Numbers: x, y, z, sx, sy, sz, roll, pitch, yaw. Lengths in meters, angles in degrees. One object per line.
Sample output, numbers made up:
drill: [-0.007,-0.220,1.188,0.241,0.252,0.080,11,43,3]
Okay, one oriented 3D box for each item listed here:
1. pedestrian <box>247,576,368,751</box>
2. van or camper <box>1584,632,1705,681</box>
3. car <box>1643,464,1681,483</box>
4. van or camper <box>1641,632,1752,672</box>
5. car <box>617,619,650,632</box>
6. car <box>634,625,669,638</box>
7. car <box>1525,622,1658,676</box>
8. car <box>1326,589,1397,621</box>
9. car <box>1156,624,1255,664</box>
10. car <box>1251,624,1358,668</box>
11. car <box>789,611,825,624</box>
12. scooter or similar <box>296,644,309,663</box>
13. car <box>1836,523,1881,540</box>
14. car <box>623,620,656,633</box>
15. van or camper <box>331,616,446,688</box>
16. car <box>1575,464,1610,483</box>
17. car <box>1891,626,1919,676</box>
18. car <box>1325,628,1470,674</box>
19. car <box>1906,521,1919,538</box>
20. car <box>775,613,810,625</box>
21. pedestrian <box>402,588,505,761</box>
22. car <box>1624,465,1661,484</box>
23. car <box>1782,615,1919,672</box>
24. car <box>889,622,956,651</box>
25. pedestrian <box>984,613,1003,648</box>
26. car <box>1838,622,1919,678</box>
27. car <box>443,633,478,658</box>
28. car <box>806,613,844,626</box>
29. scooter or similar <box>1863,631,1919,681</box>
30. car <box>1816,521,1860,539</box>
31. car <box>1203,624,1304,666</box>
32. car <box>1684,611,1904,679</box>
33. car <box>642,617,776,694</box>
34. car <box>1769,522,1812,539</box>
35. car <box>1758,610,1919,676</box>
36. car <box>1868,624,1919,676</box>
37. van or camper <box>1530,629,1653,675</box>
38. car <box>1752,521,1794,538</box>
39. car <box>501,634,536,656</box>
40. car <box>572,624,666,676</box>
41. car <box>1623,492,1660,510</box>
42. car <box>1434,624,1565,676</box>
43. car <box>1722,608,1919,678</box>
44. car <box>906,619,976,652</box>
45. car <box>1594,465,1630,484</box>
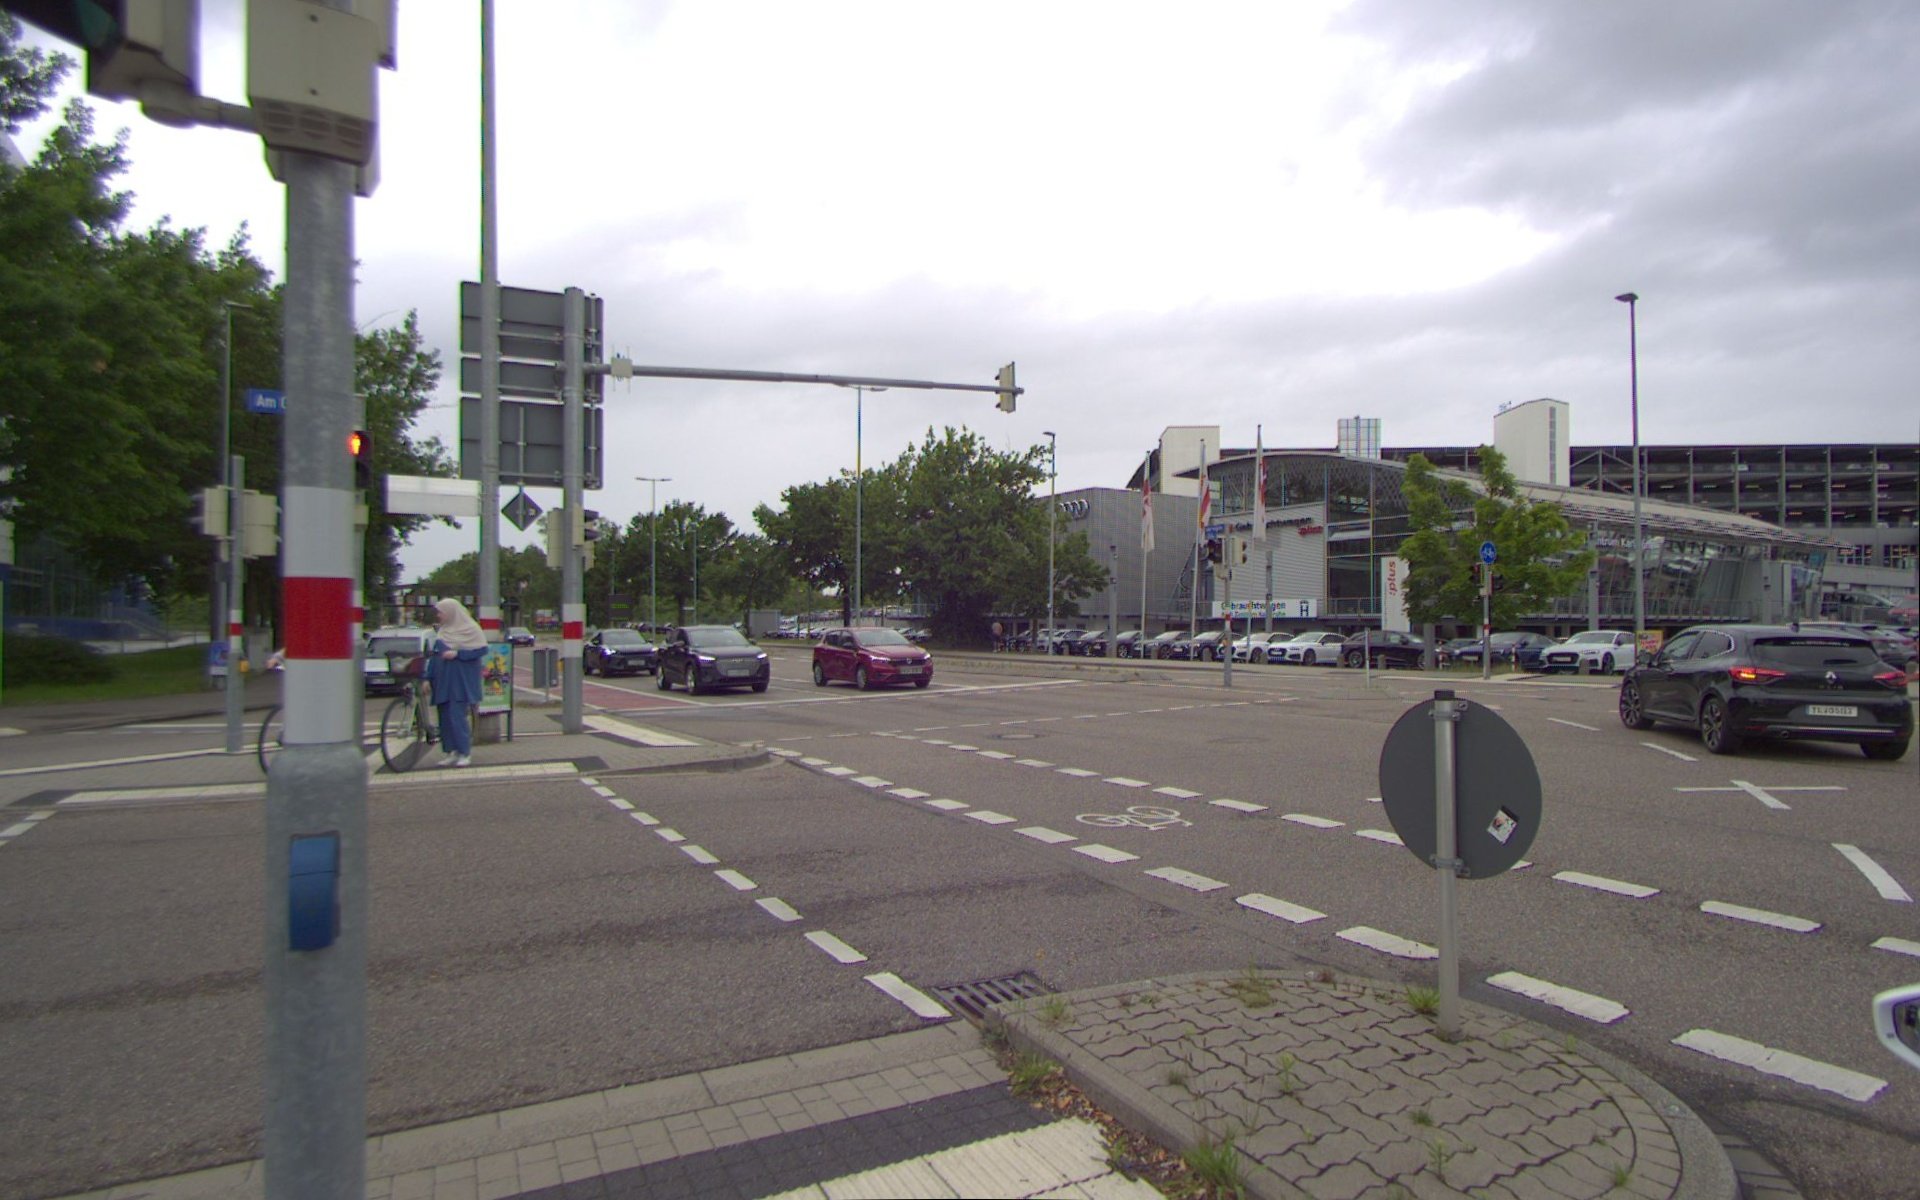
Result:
pedestrian: [-6.158,0.595,9.520,0.641,1.569,0.649,3,-2,-5]
van or camper: [29.806,2.430,43.863,1.827,1.840,3.965,2,0,-31]
car: [84.287,-15.166,120.708,1.960,1.689,4.002,1,-1,4]
van or camper: [35.863,2.517,49.015,1.827,1.734,3.965,2,0,-31]
car: [-43.391,3.394,133.661,3.947,1.455,1.719,2,0,-26]
car: [-38.882,3.934,126.639,3.947,1.455,1.719,2,0,-26]
car: [19.644,1.550,31.213,4.182,1.505,1.859,4,-4,-31]
car: [23.039,0.301,57.579,3.958,1.684,1.809,2,0,-33]
car: [10.933,1.958,44.724,4.185,1.505,1.856,5,-3,-31]
car: [13.837,1.845,40.281,4.152,1.505,1.837,5,-3,-31]
car: [-19.183,2.166,126.009,4.055,1.455,1.714,3,0,-33]
scooter or similar: [-42.720,3.459,65.243,0.650,1.212,1.365,3,-2,-34]
car: [106.922,-8.124,119.552,1.960,1.689,4.002,1,-1,4]
car: [-42.030,3.469,131.757,3.947,1.455,1.719,2,0,-26]
van or camper: [-15.015,1.382,26.622,1.970,1.744,4.375,0,-3,-21]
car: [76.365,-15.254,121.355,1.960,1.689,4.002,1,-1,4]
car: [41.114,2.063,40.520,1.978,2.040,4.867,2,-4,-32]
car: [16.113,1.844,37.225,1.872,1.505,4.716,5,-4,-30]
car: [116.854,-8.585,120.226,2.167,1.971,5.332,1,-1,0]
car: [-21.731,2.468,130.470,4.168,1.455,1.714,3,0,-33]
pedestrian: [-4.981,0.725,9.911,0.628,1.648,0.692,0,-2,2]
car: [81.915,-15.043,120.606,1.960,1.689,4.002,1,-1,4]
car: [31.973,1.535,34.870,2.033,1.900,4.917,3,-4,-34]
car: [-2.555,2.503,68.768,4.179,1.504,1.809,9,-4,-32]
pedestrian: [1.814,1.671,54.833,0.711,1.895,0.668,3,-3,-32]
car: [36.412,1.884,37.684,1.978,2.040,4.867,2,-4,-32]
car: [-38.342,3.447,77.074,1.977,1.616,4.538,-3,1,-32]
car: [-16.332,2.349,121.568,4.055,1.455,1.929,3,0,-33]
scooter or similar: [24.396,1.450,26.125,1.534,1.235,0.557,1,2,-15]
car: [104.308,-8.304,119.389,1.960,1.689,4.002,1,-1,4]
car: [12.397,1.902,42.339,4.000,1.505,1.861,5,-3,-32]
car: [25.131,1.384,30.462,1.978,1.887,4.746,2,-4,-32]
car: [-6.261,1.305,24.737,1.866,1.659,4.294,-2,0,-33]
car: [98.970,-8.274,119.720,1.960,1.689,4.002,1,-1,4]
car: [29.895,1.452,33.239,2.241,2.040,4.996,2,-4,-32]
car: [38.763,1.956,38.985,1.978,2.040,4.867,2,-4,-32]
van or camper: [26.954,2.194,42.976,1.978,1.699,3.965,2,0,-32]
car: [96.804,-8.357,119.680,1.960,1.689,4.002,1,-1,4]
car: [-32.728,3.317,74.402,1.842,1.481,4.294,-1,0,-32]
car: [-11.385,1.617,33.362,1.866,1.565,4.557,-1,-2,-33]
car: [81.760,-11.895,120.542,1.960,1.689,4.002,1,-1,4]
car: [18.132,1.696,33.718,4.470,1.505,2.051,5,-5,-33]
car: [27.305,1.401,31.783,1.978,2.040,4.676,2,-4,-32]
car: [-1.249,2.379,66.449,4.208,1.622,1.859,9,-4,-32]
car: [78.760,-15.159,121.392,1.960,1.689,4.002,1,-1,4]
